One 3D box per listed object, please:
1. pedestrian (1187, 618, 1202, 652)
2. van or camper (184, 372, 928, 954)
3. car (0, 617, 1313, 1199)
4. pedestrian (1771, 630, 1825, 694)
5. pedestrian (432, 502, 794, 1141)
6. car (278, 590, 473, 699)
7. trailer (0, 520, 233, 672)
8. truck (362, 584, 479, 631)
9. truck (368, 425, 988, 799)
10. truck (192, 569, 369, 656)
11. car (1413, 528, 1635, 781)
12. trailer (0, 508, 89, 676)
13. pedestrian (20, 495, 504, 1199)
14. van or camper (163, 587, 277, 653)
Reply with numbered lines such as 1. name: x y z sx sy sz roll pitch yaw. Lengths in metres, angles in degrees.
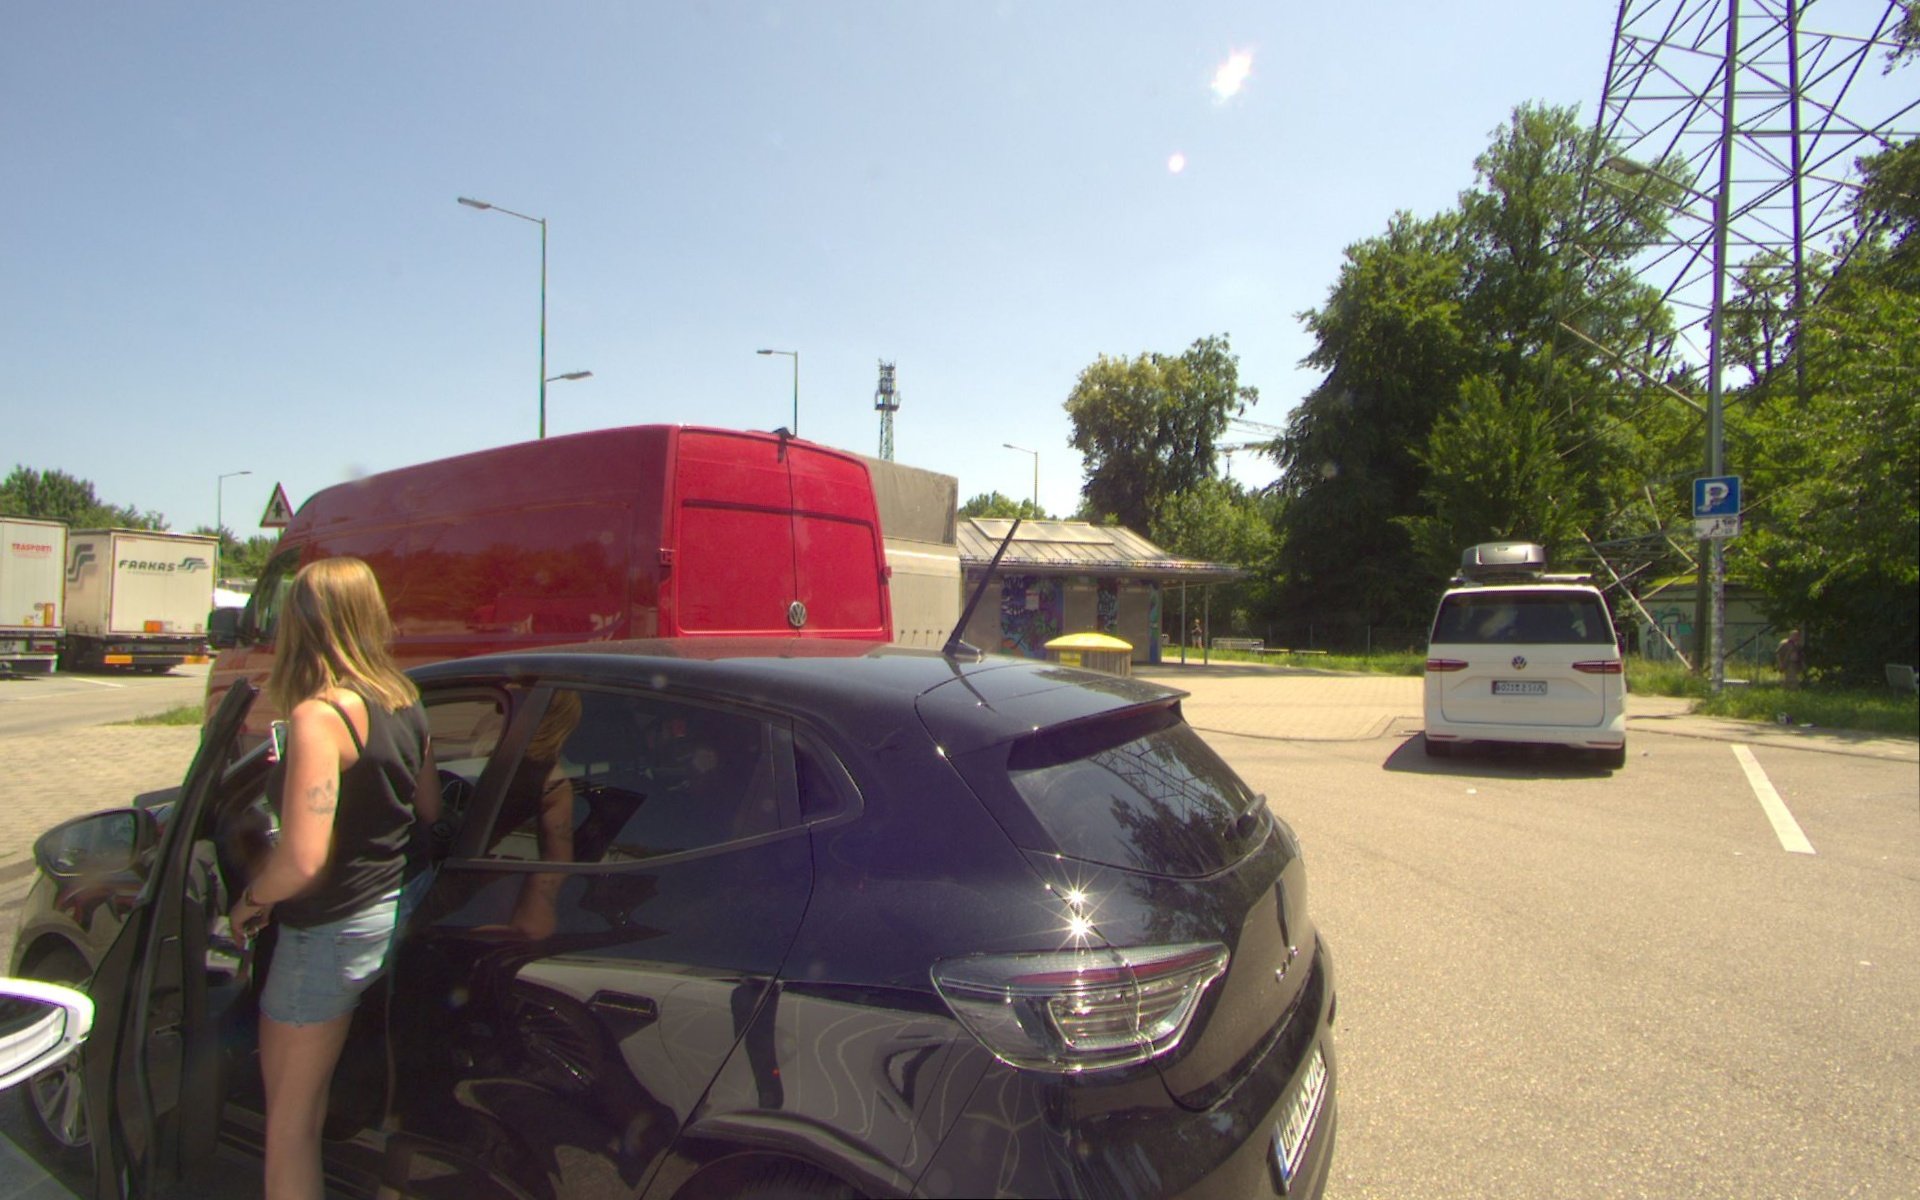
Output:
1. pedestrian: 10.712 1.588 45.763 0.581 1.536 0.588 1 0 9
2. van or camper: -3.366 0.316 7.342 6.394 2.688 1.990 0 -1 36
3. car: -1.060 0.828 2.835 3.706 1.503 1.615 0 -1 27
4. pedestrian: 18.699 1.363 22.358 0.695 1.392 0.607 1 0 9
5. pedestrian: -1.193 0.665 3.523 0.902 1.896 0.771 1 0 26
6. car: -13.257 0.937 22.566 5.245 2.178 1.986 -1 -1 38
7. trailer: -27.294 -0.208 31.454 12.255 4.090 2.862 2 -1 33
8. truck: -34.722 0.449 64.268 9.637 2.857 2.121 0 -1 33
9. truck: -3.261 0.123 10.548 6.874 2.828 2.460 0 -1 35
10. truck: -31.693 0.494 46.466 11.255 3.615 2.483 2 -1 33
11. car: 6.539 0.555 11.548 1.892 2.354 4.074 -1 -1 32
12. trailer: -28.355 -0.336 27.789 12.255 4.090 2.862 2 -1 33
13. pedestrian: -1.316 0.663 1.902 0.647 1.606 0.643 1 -1 -41
14. van or camper: -30.810 0.809 41.640 5.296 2.595 2.100 0 -1 34
